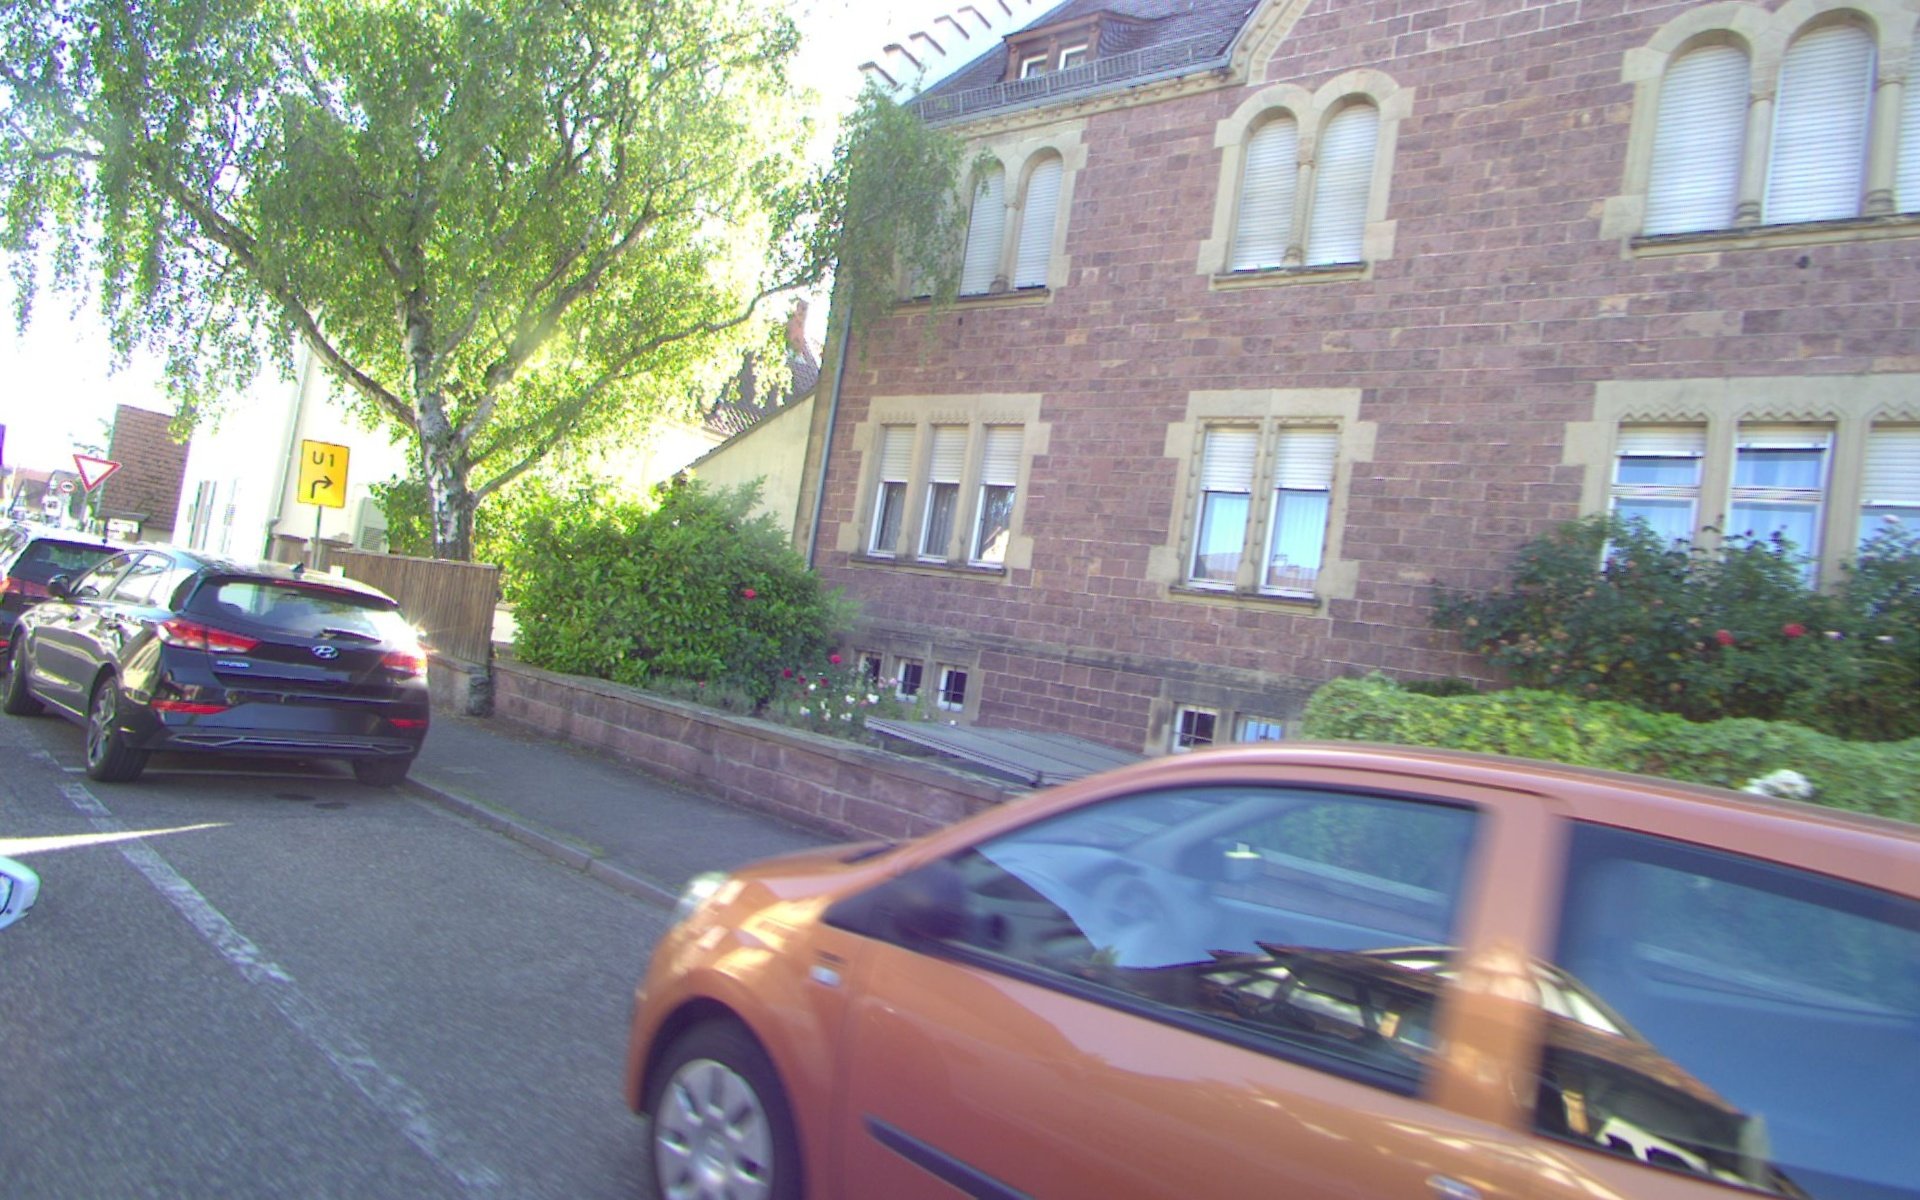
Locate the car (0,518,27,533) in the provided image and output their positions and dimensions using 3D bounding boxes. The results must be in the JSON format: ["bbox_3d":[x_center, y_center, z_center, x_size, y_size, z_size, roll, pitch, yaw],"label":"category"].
[{"bbox_3d":[-128.990,-10.135,136.969,3.933,1.599,1.977,6,-5,36],"label":"car"}]

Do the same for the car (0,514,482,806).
[{"bbox_3d":[-5.601,0.349,7.530,4.222,1.451,1.810,7,-4,38],"label":"car"}]

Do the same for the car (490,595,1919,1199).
[{"bbox_3d":[0.804,1.027,2.279,3.875,1.494,1.650,7,-4,38],"label":"car"}]

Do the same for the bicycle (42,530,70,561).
[{"bbox_3d":[-38.596,-2.309,42.958,0.431,1.189,1.814,10,-4,-31],"label":"bicycle"}]

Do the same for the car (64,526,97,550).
[{"bbox_3d":[-79.473,-5.566,90.844,1.970,1.731,3.948,12,-5,-42],"label":"car"}]

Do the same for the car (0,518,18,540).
[{"bbox_3d":[-74.754,-5.599,78.457,1.585,1.457,3.573,12,-5,-42],"label":"car"}]

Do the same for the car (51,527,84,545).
[{"bbox_3d":[-108.106,-7.706,121.837,3.933,1.599,1.977,6,-5,36],"label":"car"}]

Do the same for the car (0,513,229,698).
[{"bbox_3d":[-9.537,-0.061,10.747,4.227,1.451,1.808,6,-4,42],"label":"car"}]
